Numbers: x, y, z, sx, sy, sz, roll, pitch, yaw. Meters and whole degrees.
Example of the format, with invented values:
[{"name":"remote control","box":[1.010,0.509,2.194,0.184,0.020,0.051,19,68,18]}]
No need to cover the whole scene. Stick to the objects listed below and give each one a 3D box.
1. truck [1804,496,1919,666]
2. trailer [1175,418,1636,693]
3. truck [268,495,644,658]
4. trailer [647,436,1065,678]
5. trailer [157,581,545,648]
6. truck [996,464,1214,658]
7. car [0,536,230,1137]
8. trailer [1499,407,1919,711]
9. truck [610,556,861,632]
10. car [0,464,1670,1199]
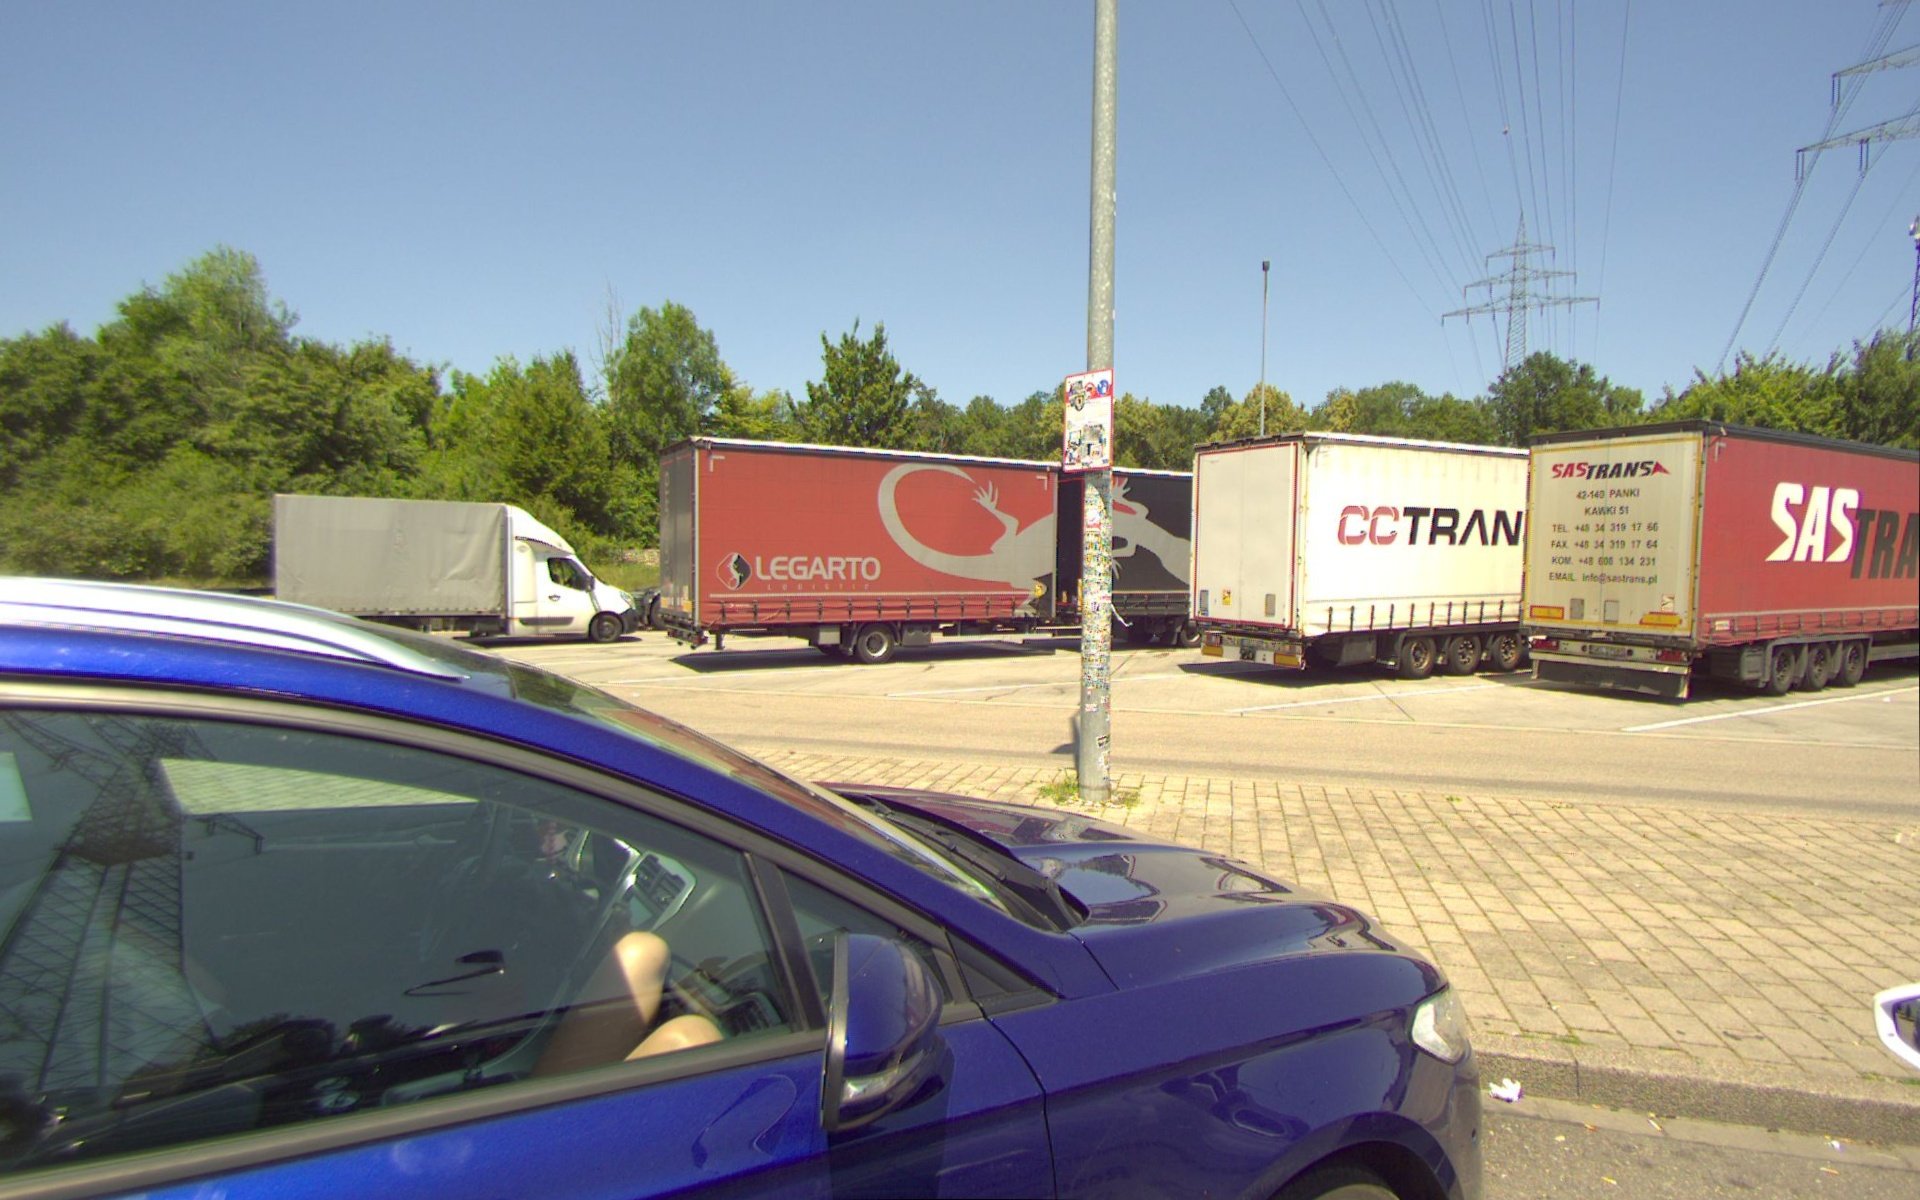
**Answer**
[{"name":"truck","box":[21.729,-0.428,22.310,5.418,3.475,2.838,-1,3,-30]},{"name":"trailer","box":[8.868,-0.816,19.331,10.049,4.267,2.714,-1,3,-30]},{"name":"truck","box":[-11.201,-0.566,22.907,7.254,3.254,2.515,-1,3,-30]},{"name":"trailer","box":[-1.924,-0.825,20.270,7.996,4.101,2.696,-1,3,-30]},{"name":"trailer","box":[-14.829,0.267,25.190,7.996,1.394,2.211,-1,3,-30]},{"name":"truck","box":[3.358,-0.899,23.365,4.273,4.072,2.689,-1,3,-30]},{"name":"car","box":[-4.552,0.585,2.258,4.592,1.554,1.726,0,1,-33]},{"name":"trailer","box":[15.407,-0.700,18.566,13.559,4.189,2.892,-1,3,-30]},{"name":"truck","box":[-6.480,-0.156,29.530,6.961,2.040,1.984,0,0,-30]},{"name":"car","box":[-0.979,0.656,1.473,4.592,1.502,1.727,0,0,-33]}]
